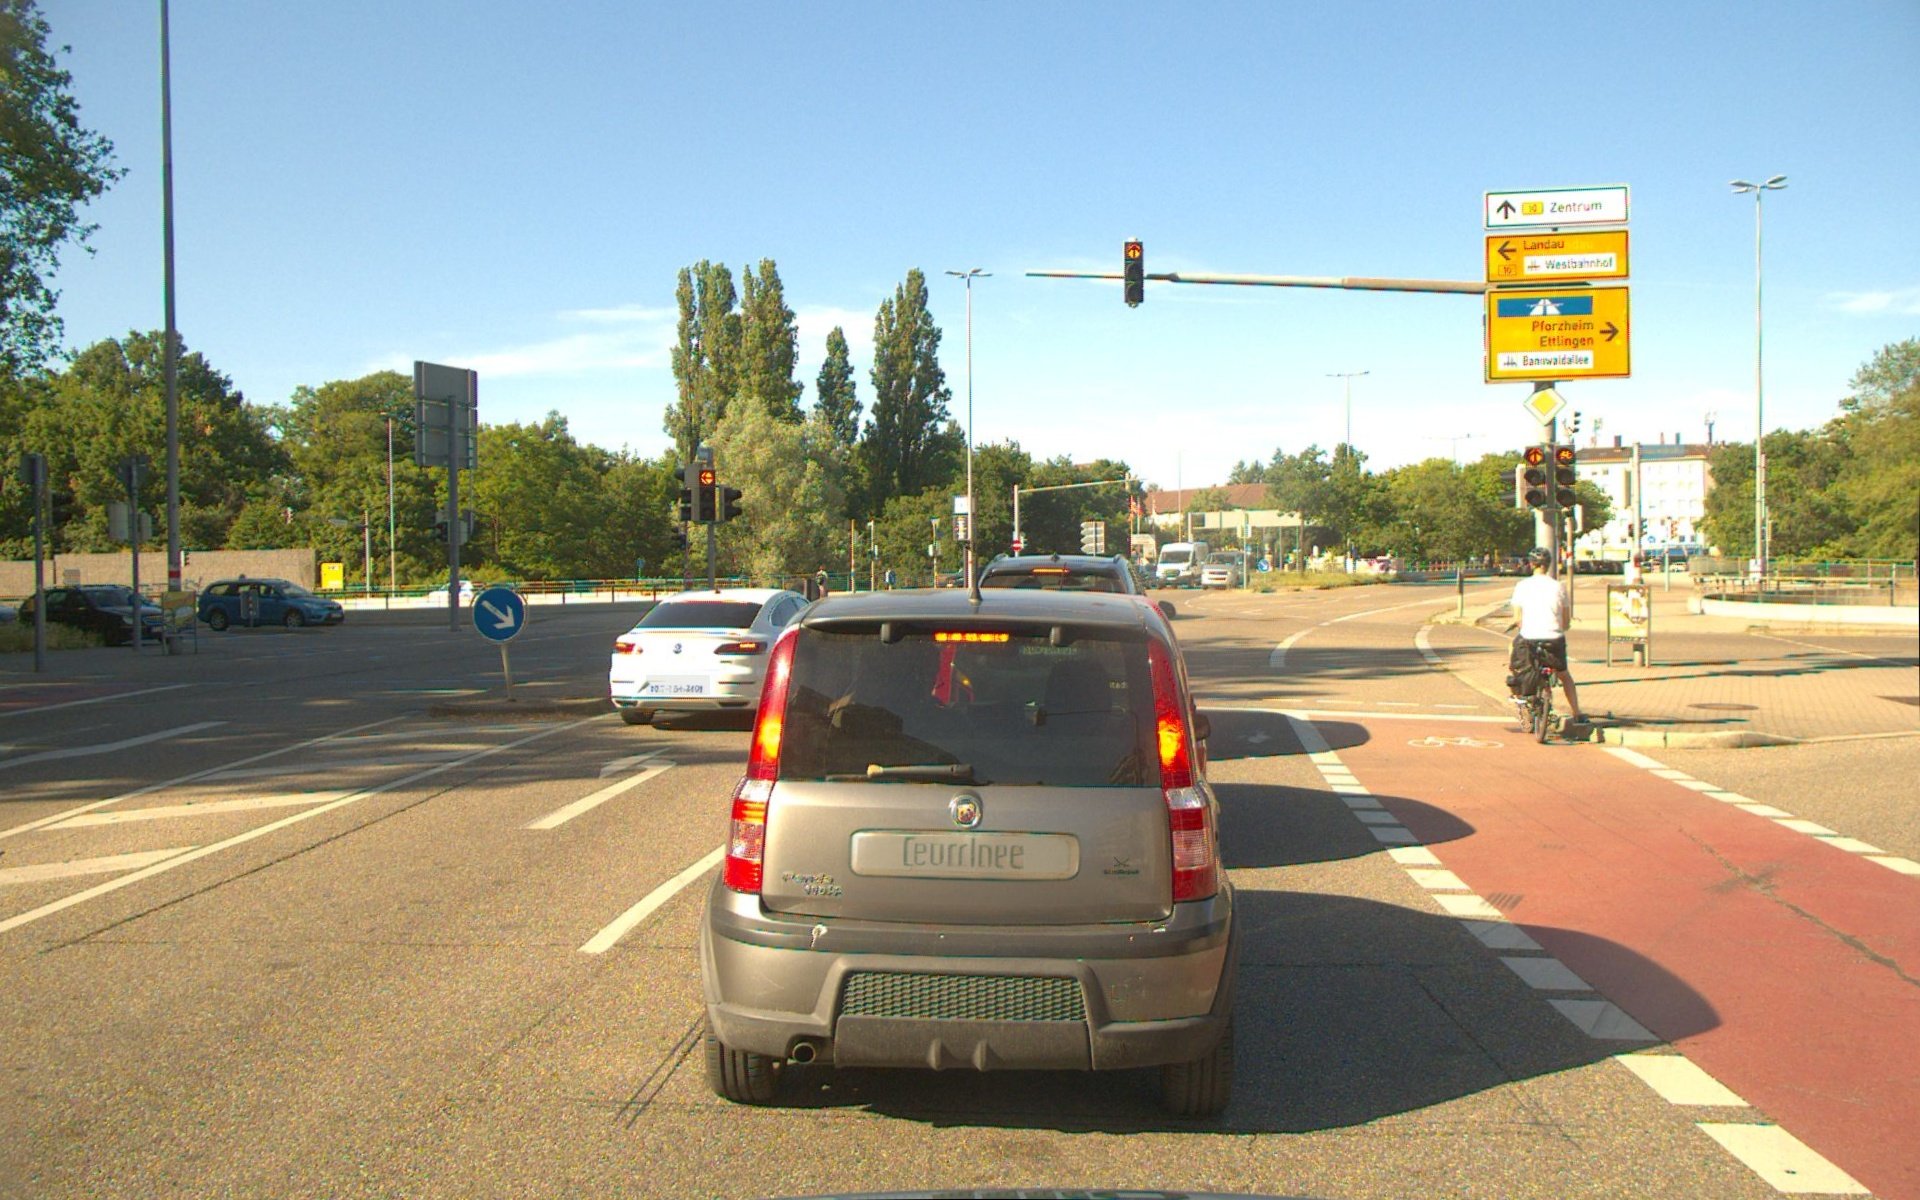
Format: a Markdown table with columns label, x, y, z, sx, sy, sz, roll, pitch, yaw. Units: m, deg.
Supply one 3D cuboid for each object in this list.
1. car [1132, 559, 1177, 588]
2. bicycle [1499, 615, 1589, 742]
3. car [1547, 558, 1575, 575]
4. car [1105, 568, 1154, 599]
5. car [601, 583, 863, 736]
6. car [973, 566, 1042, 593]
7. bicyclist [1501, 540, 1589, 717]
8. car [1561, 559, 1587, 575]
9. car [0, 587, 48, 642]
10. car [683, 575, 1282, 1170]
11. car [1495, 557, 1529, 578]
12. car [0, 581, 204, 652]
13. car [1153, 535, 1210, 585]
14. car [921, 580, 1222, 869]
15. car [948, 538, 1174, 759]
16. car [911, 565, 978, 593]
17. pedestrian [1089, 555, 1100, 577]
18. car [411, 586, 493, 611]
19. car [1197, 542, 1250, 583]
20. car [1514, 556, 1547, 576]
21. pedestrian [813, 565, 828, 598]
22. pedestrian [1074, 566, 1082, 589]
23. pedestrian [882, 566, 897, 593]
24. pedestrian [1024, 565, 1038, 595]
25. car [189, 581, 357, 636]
| label | x | y | z | sx | sy | sz | roll | pitch | yaw |
| --- | --- | --- | --- | --- | --- | --- | --- | --- | --- |
| car | 11.614 | -1.603 | 98.534 | 1.773 | 1.568 | 4.619 | -2 | 1 | 18 |
| bicycle | 5.787 | 0.743 | 16.460 | 0.676 | 1.121 | 1.828 | 1 | 1 | 14 |
| car | 55.694 | -3.099 | 153.137 | 1.908 | 1.555 | 4.092 | 0 | 1 | 28 |
| car | 9.443 | -0.933 | 91.901 | 1.896 | 1.534 | 4.003 | -2 | 1 | 17 |
| car | -2.376 | 0.554 | 18.375 | 1.742 | 1.439 | 4.323 | 0 | 1 | 8 |
| car | 2.946 | -1.300 | 102.075 | 4.292 | 1.562 | 1.758 | -2 | 3 | -42 |
| bicyclist | 5.766 | 0.255 | 16.345 | 0.708 | 1.688 | 1.114 | 1 | 1 | 14 |
| car | 60.073 | -3.240 | 161.812 | 1.908 | 1.555 | 4.092 | 0 | 1 | 28 |
| car | -26.383 | 0.377 | 43.536 | 4.404 | 1.381 | 1.879 | 0 | 1 | 24 |
| car | 0.200 | 0.701 | 6.319 | 1.583 | 1.542 | 3.822 | -1 | 1 | 4 |
| car | 42.435 | -2.514 | 127.036 | 1.907 | 1.555 | 4.093 | 0 | 1 | 27 |
| car | -21.048 | 0.394 | 40.234 | 4.668 | 1.649 | 1.953 | 0 | 1 | 15 |
| car | 12.211 | -2.192 | 90.954 | 1.896 | 2.621 | 6.091 | 0 | 1 | 19 |
| car | 0.736 | 0.647 | 10.672 | 1.583 | 1.488 | 3.753 | -1 | 1 | 4 |
| car | 1.113 | 0.371 | 16.177 | 1.904 | 1.872 | 4.156 | -1 | 1 | 7 |
| car | -0.954 | -1.325 | 104.259 | 3.961 | 1.653 | 1.874 | 1 | 0 | -39 |
| pedestrian | 10.685 | -2.695 | 131.631 | 0.706 | 1.670 | 0.672 | 1 | -1 | 24 |
| car | -29.660 | -0.094 | 96.570 | 4.410 | 1.406 | 1.787 | 0 | 1 | 21 |
| car | 13.883 | -1.973 | 87.028 | 1.896 | 2.043 | 4.933 | 0 | 1 | 19 |
| car | 45.919 | -2.736 | 133.052 | 1.908 | 1.555 | 4.093 | 0 | 1 | 27 |
| pedestrian | -6.310 | -0.855 | 74.744 | 0.666 | 1.488 | 0.702 | -1 | 1 | -7 |
| pedestrian | 9.171 | -1.733 | 128.226 | 0.488 | 1.731 | 0.500 | 1 | -1 | 24 |
| pedestrian | -4.273 | -1.209 | 99.654 | 0.698 | 1.574 | 0.725 | -2 | -2 | -16 |
| pedestrian | 3.826 | -1.081 | 89.550 | 0.547 | 1.574 | 0.573 | -2 | 0 | -16 |
| car | -20.750 | 0.239 | 50.002 | 4.348 | 1.567 | 1.953 | -1 | 1 | 13 |
